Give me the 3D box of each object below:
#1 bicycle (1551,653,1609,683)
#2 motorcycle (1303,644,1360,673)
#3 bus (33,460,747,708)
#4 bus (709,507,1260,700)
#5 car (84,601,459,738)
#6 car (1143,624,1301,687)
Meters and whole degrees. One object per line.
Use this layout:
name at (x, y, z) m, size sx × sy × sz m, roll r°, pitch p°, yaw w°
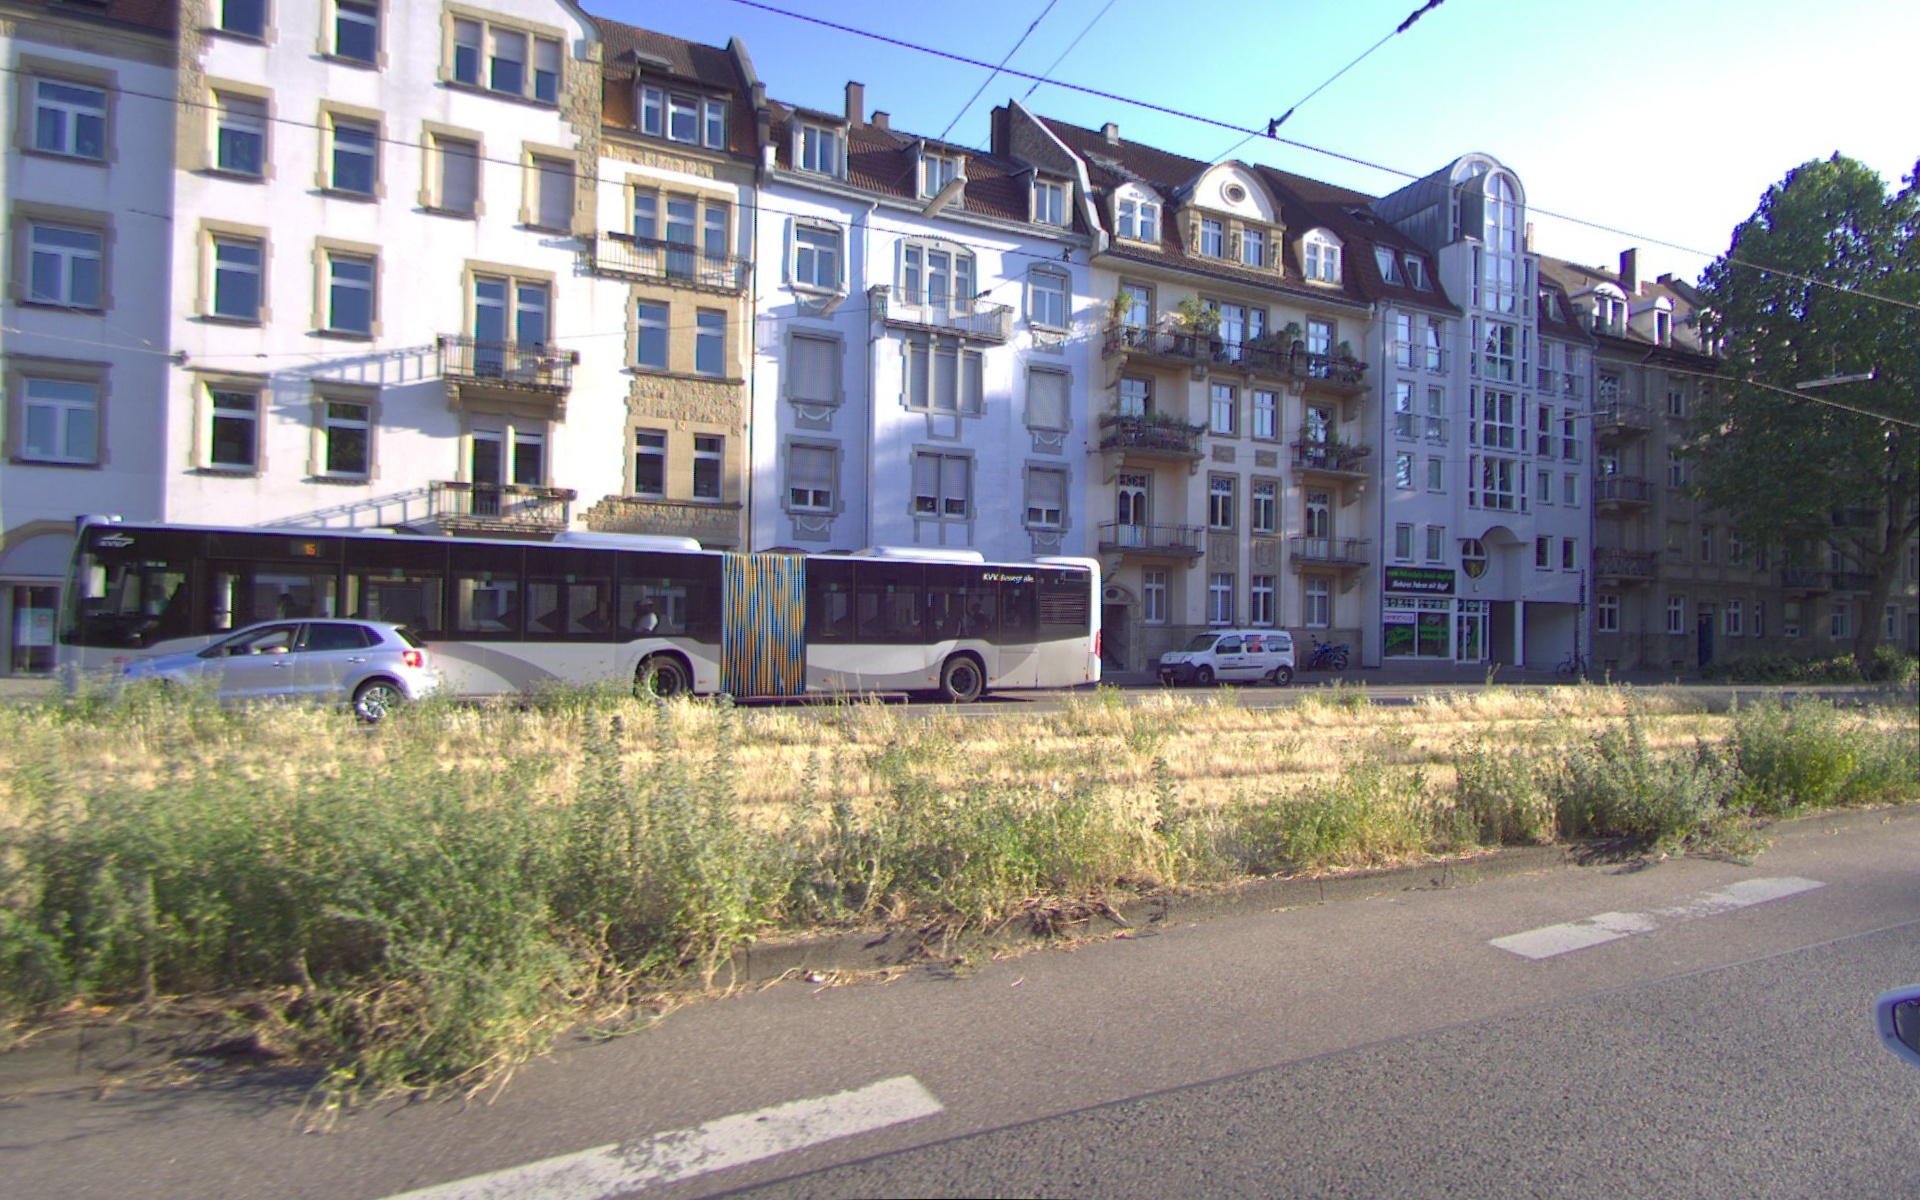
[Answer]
bicycle at (24.383, 2.684, 39.526) m, size 1.861 × 1.047 × 0.758 m, roll 2°, pitch 4°, yaw -11°
motorcycle at (14.272, 2.247, 38.591) m, size 2.388 × 1.035 × 0.526 m, roll 2°, pitch 1°, yaw -26°
bus at (-8.975, 0.020, 17.464) m, size 9.766 × 3.418 × 3.256 m, roll 3°, pitch -2°, yaw -25°
bus at (0.813, 0.337, 22.033) m, size 11.814 × 3.418 × 3.246 m, roll 3°, pitch -2°, yaw -25°
car at (-9.384, 0.970, 14.147) m, size 3.942 × 1.706 × 1.926 m, roll 3°, pitch -2°, yaw -22°
car at (8.247, 1.734, 31.612) m, size 4.588 × 1.810 × 1.900 m, roll 3°, pitch -2°, yaw -24°
